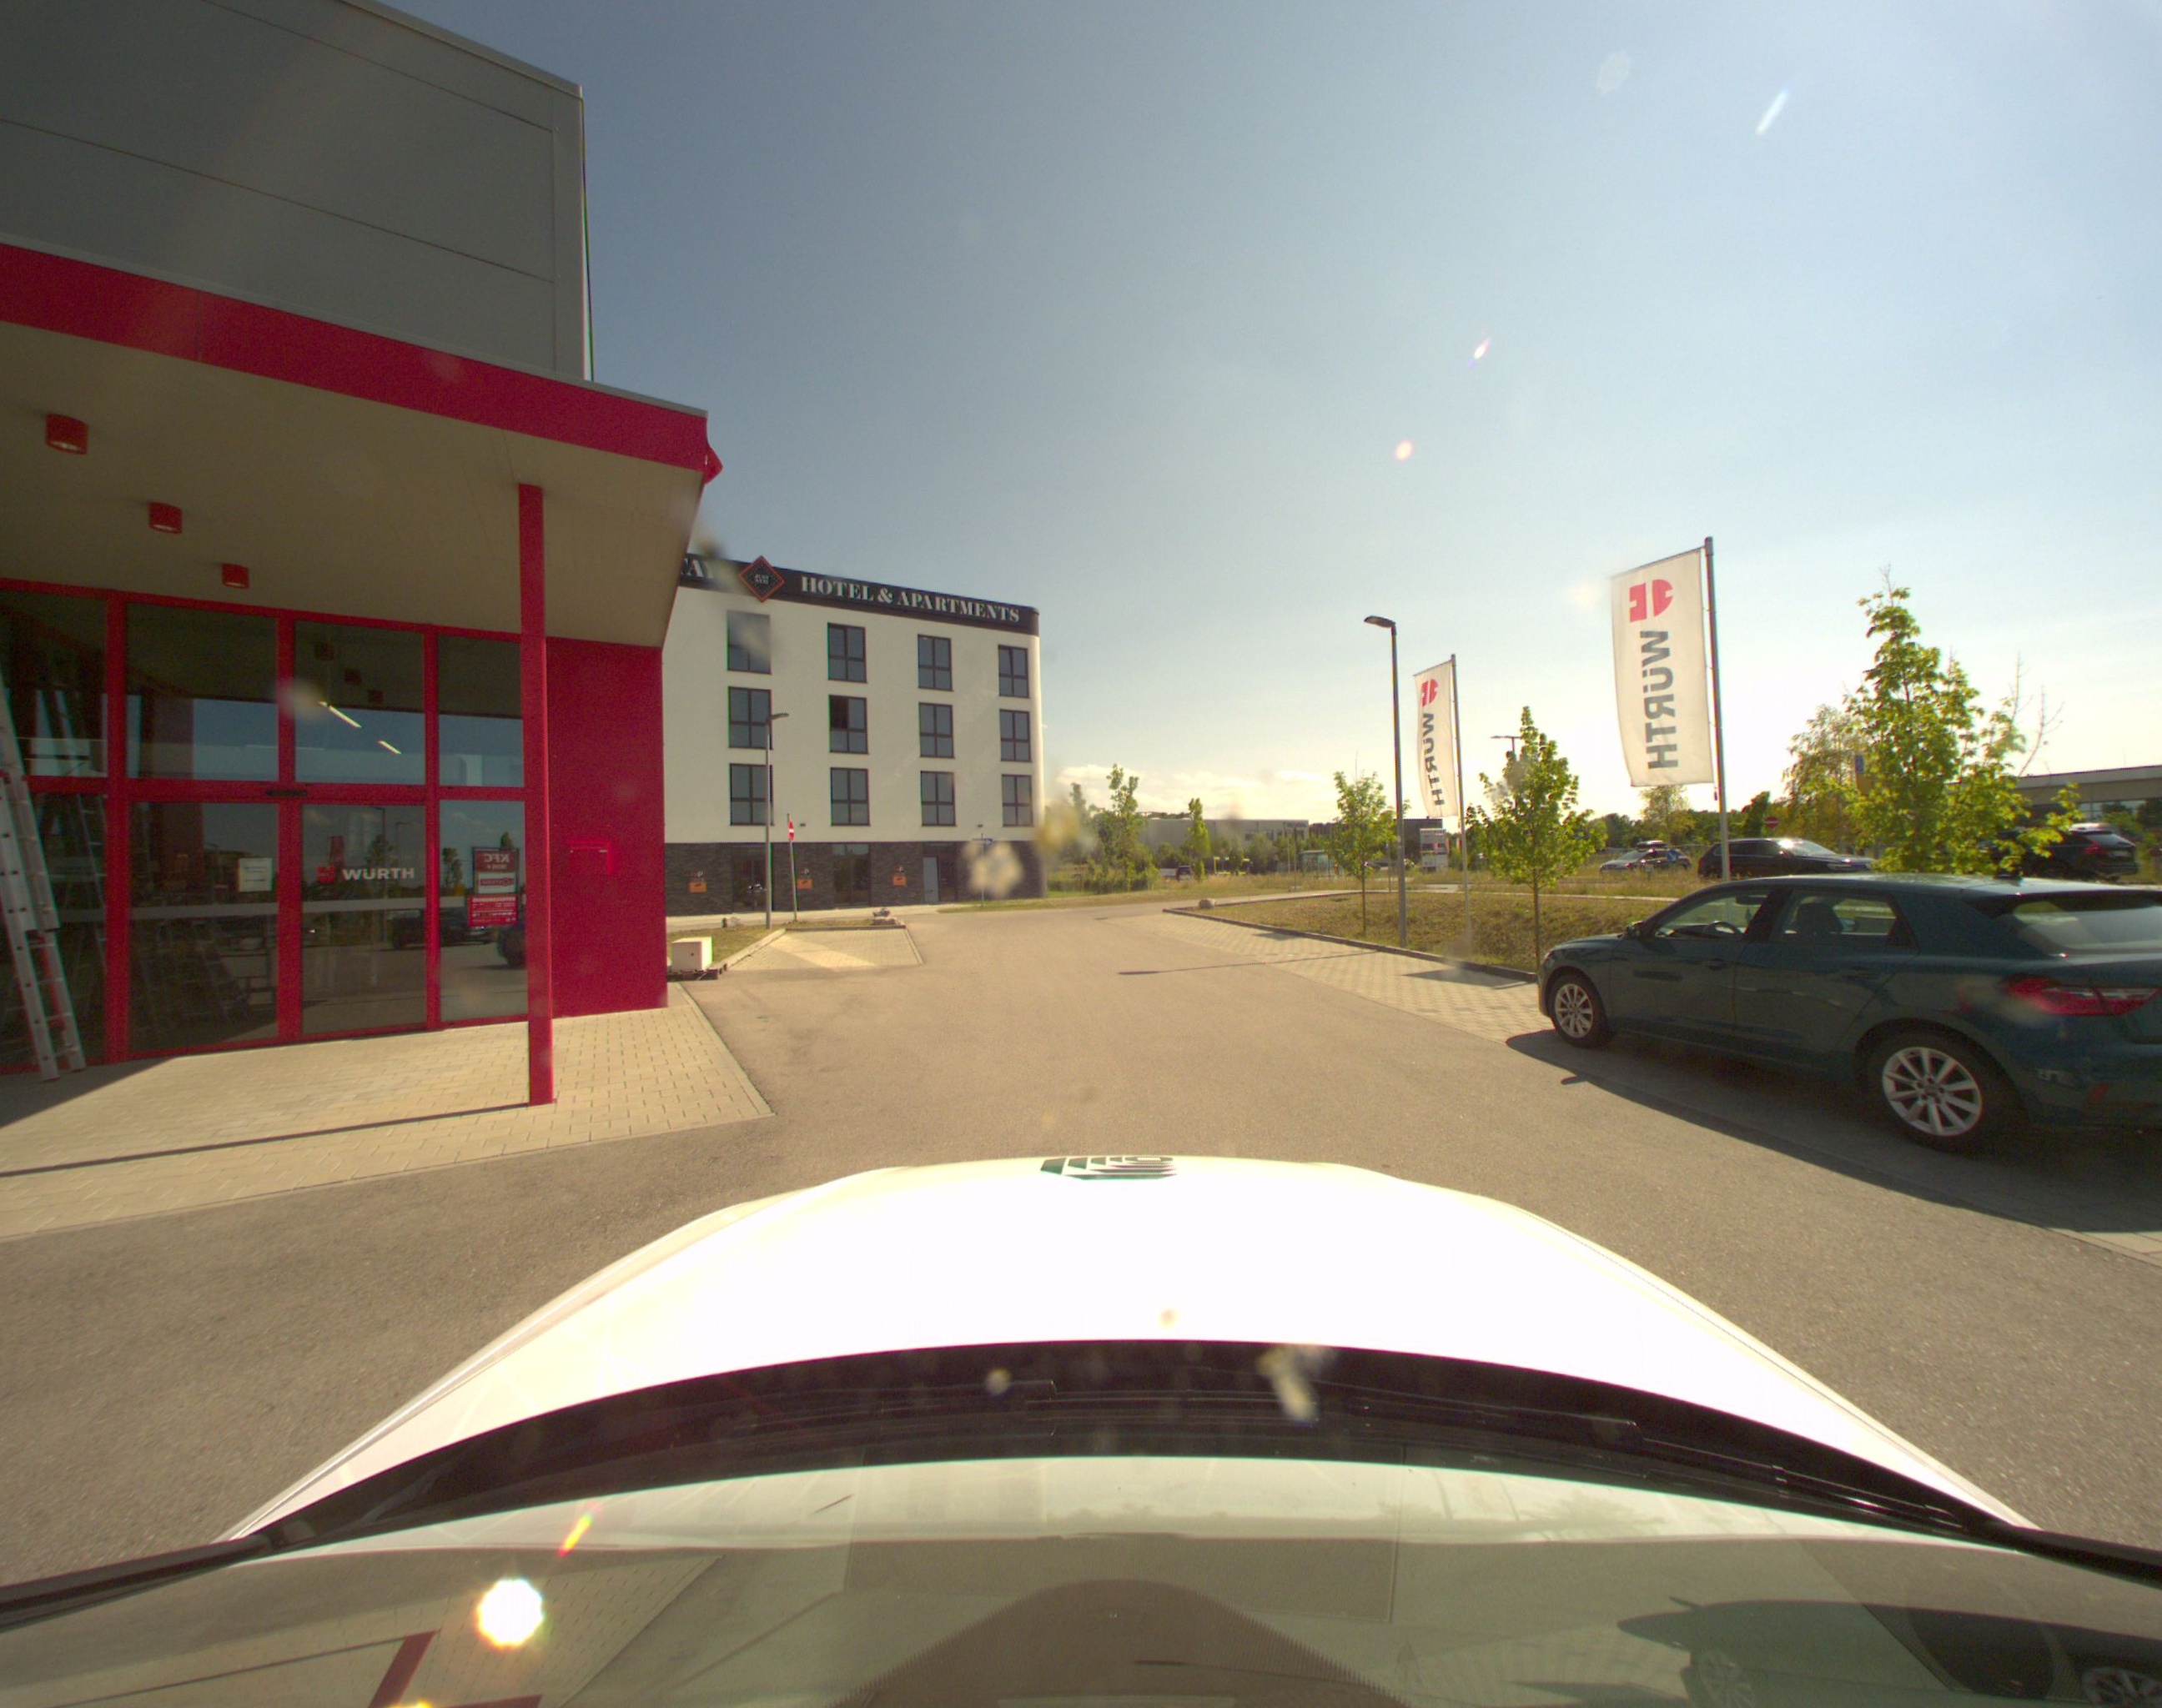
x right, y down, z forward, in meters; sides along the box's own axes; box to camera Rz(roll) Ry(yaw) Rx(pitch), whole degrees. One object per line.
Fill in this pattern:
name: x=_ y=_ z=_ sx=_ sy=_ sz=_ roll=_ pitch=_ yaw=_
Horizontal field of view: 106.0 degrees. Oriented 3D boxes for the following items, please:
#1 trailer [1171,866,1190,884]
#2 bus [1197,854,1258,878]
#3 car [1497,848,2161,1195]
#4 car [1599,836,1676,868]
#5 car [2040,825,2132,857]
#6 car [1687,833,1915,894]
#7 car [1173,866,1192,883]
trailer: x=10.476 y=2.177 z=85.582 sx=1.811 sy=1.860 sz=4.010 roll=-1 pitch=-1 yaw=9
bus: x=19.340 y=1.531 z=106.762 sx=2.547 sy=2.735 sz=11.642 roll=-2 pitch=-1 yaw=39
car: x=5.082 y=0.736 z=5.702 sx=1.838 sy=1.449 sz=4.217 roll=-2 pitch=-1 yaw=-6
car: x=28.408 y=-0.100 z=41.520 sx=4.216 sy=1.517 sz=1.977 roll=0 pitch=-1 yaw=-37
car: x=68.057 y=-0.866 z=55.155 sx=6.705 sy=1.977 sz=2.212 roll=-1 pitch=-2 yaw=-24
car: x=20.709 y=0.290 z=23.762 sx=1.942 sy=1.551 sz=4.740 roll=-1 pitch=-1 yaw=-12
car: x=11.177 y=2.233 z=89.536 sx=1.811 sy=1.860 sz=4.010 roll=-1 pitch=-1 yaw=9
